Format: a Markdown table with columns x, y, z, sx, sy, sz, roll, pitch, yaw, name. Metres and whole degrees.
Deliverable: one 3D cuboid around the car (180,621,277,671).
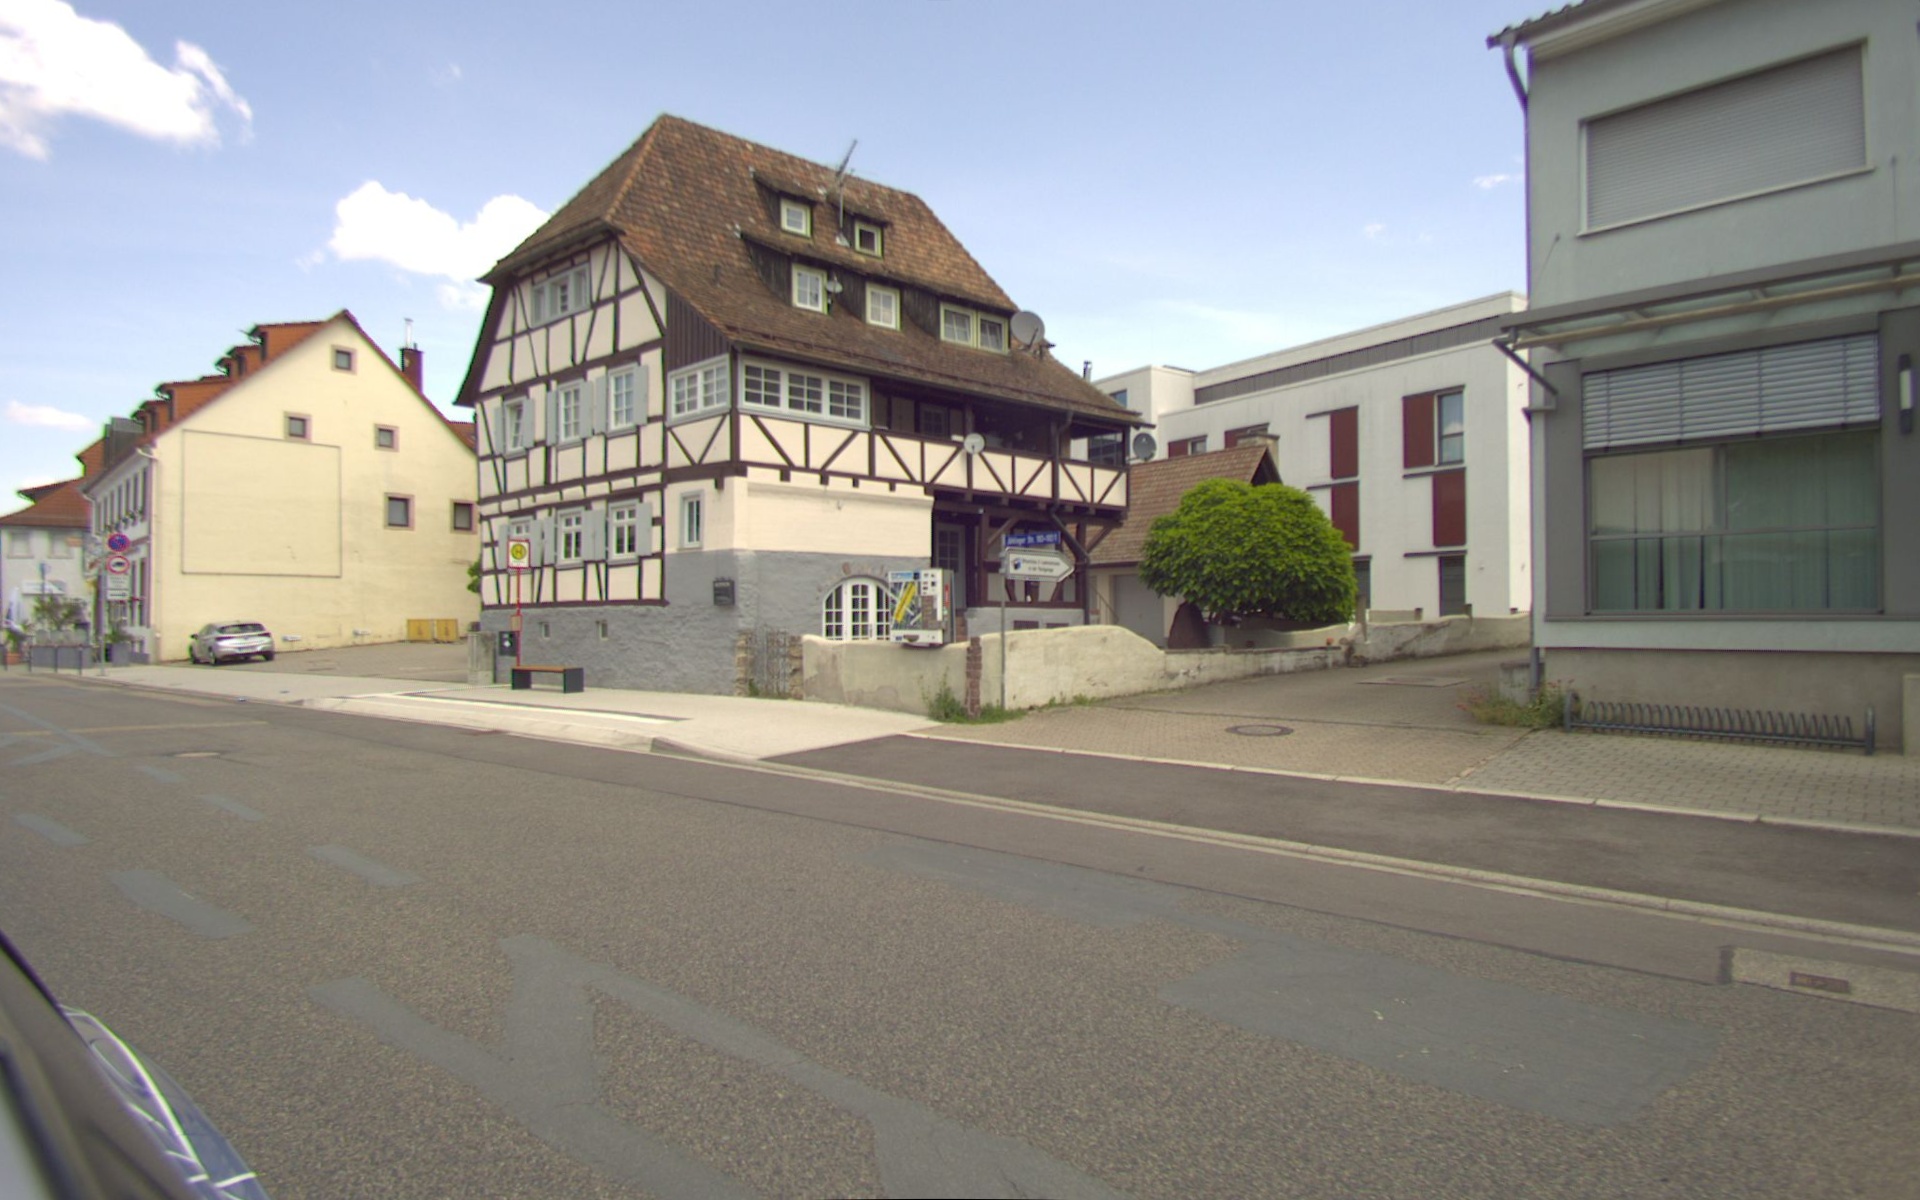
| x | y | z | sx | sy | sz | roll | pitch | yaw | name |
| --- | --- | --- | --- | --- | --- | --- | --- | --- | --- |
| -25.490 | 1.555 | 35.224 | 4.273 | 1.503 | 1.740 | -1 | 3 | 41 | car |
